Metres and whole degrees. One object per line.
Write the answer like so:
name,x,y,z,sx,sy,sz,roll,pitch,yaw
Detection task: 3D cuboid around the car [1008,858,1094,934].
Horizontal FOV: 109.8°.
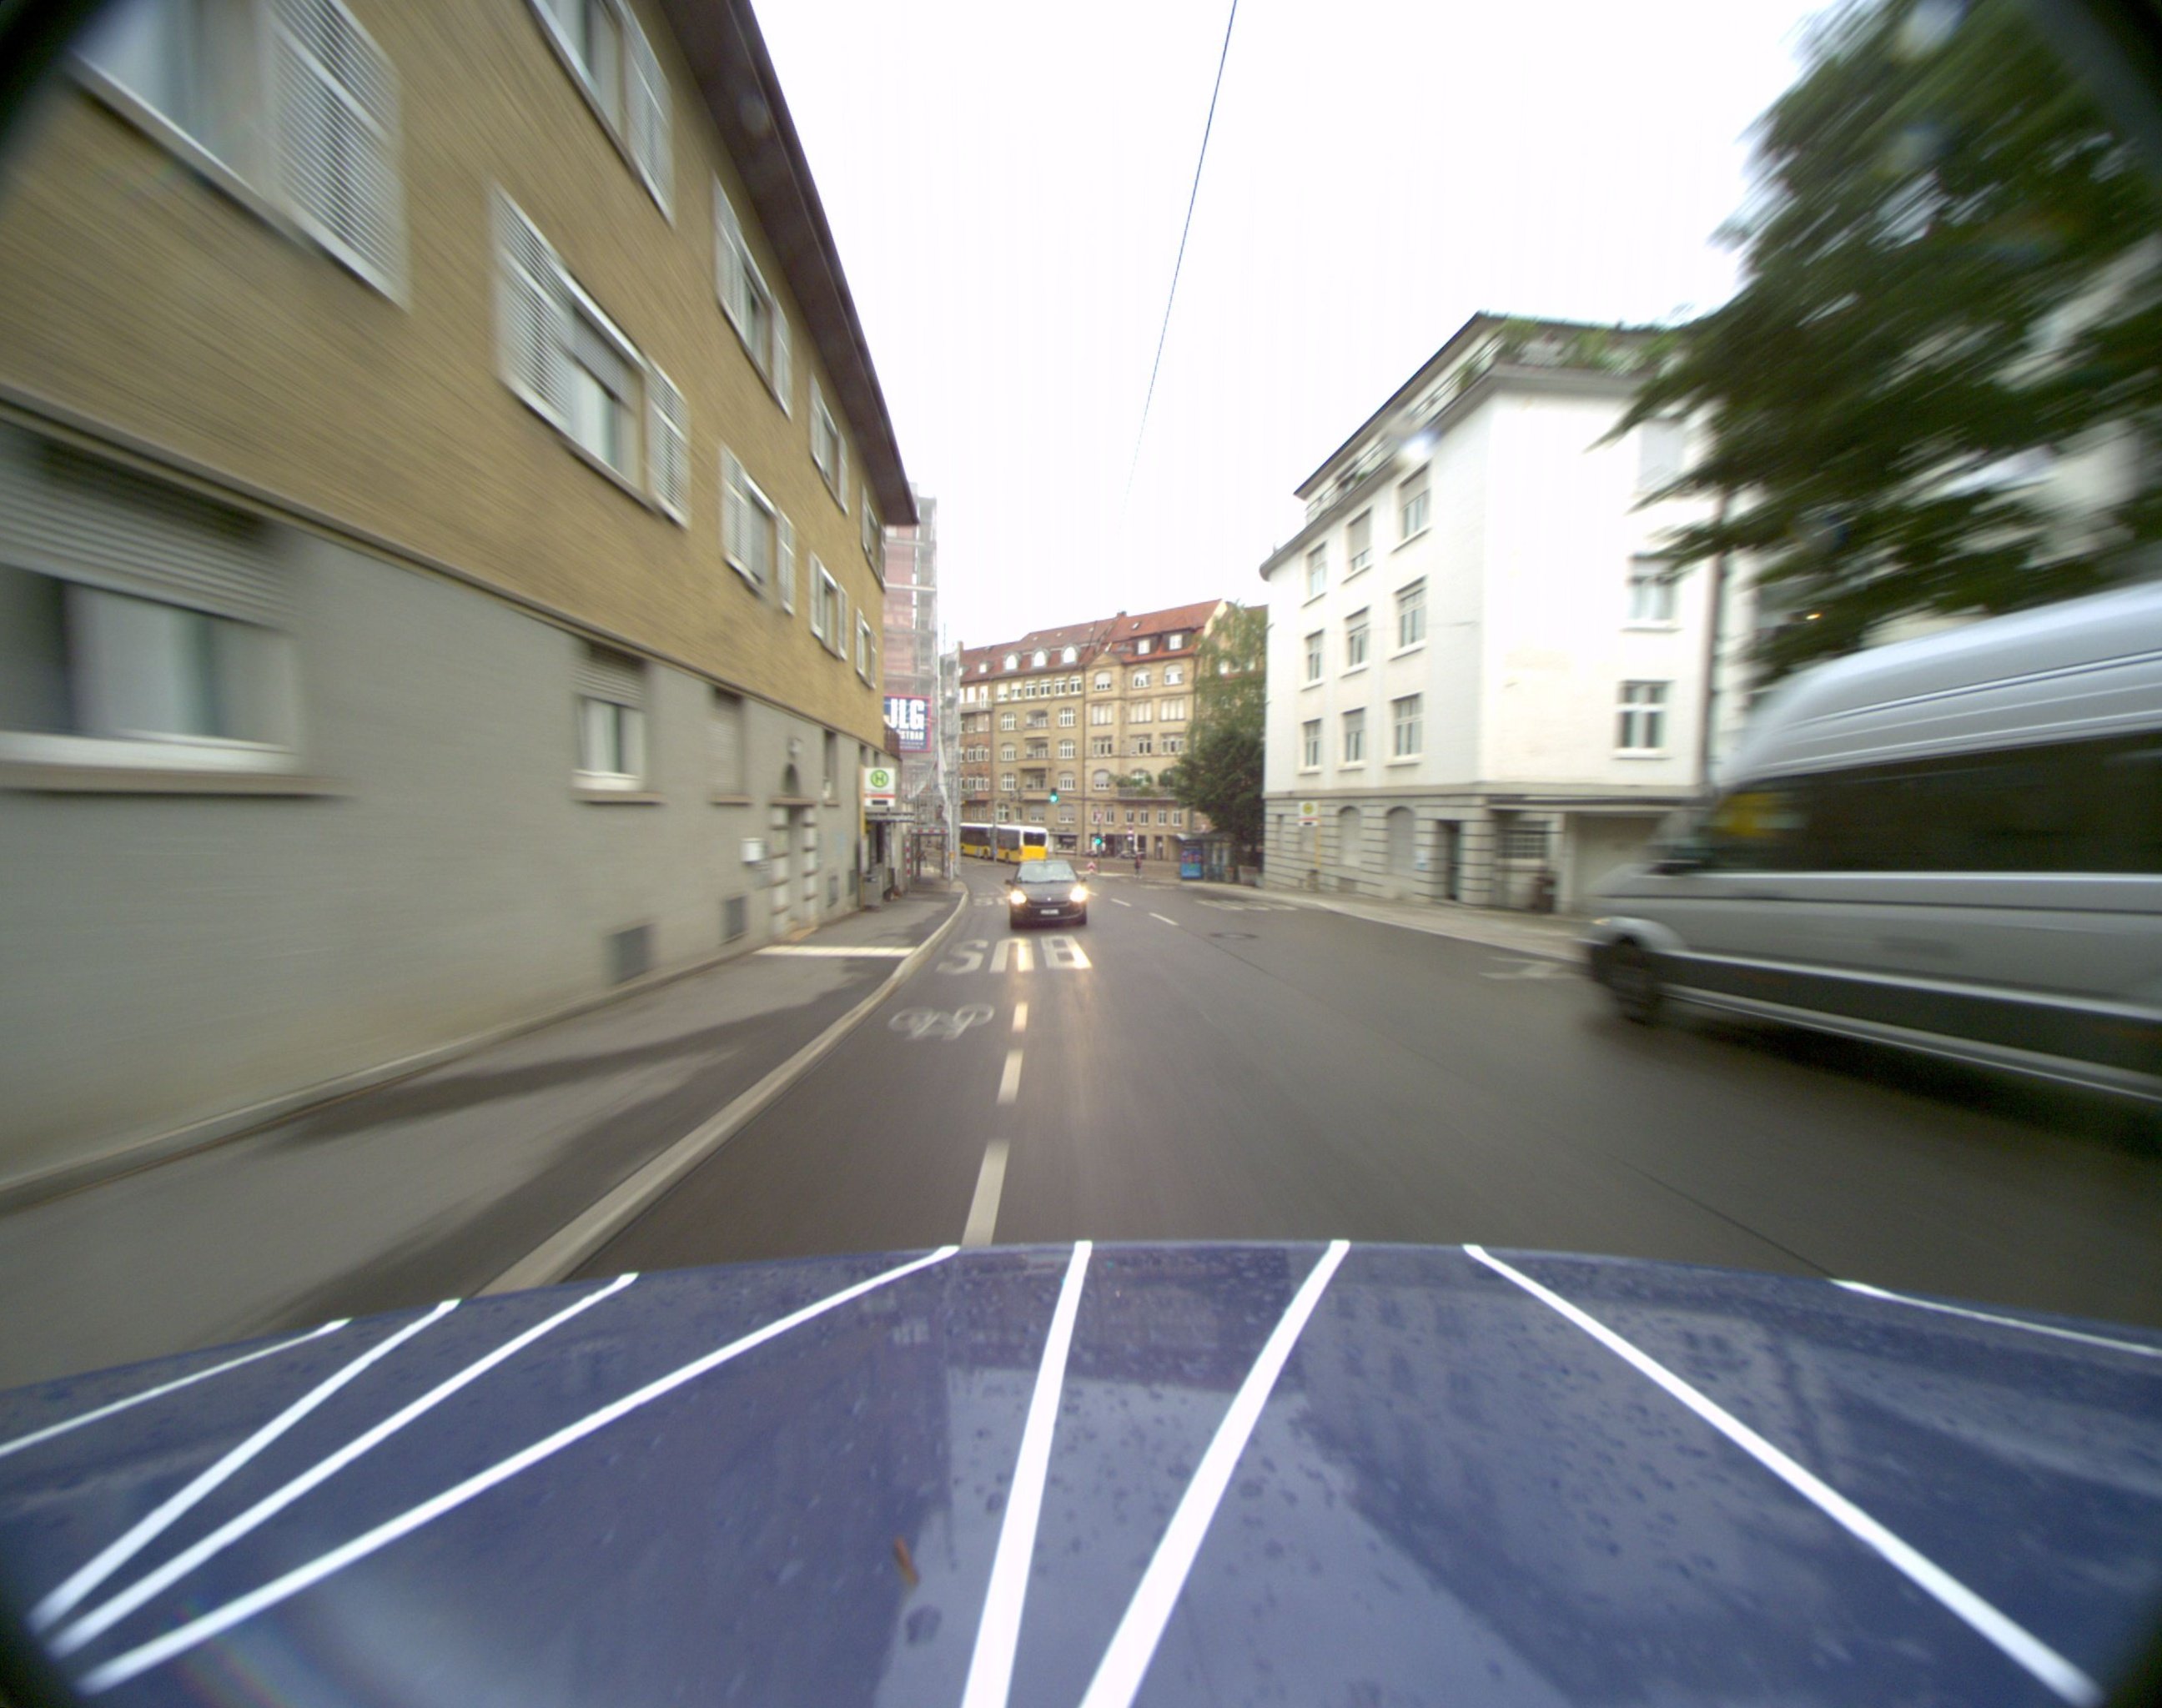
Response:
car,-0.796,0.874,17.684,1.699,1.456,3.998,-3,1,-5

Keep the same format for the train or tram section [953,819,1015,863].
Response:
train or tram section,-10.050,-1.485,77.680,3.093,4.018,9.781,-1,4,-27

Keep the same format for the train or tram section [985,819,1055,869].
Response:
train or tram section,-5.727,-1.044,68.838,3.093,3.981,9.782,-1,4,-25

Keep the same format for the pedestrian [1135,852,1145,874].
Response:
pedestrian,4.257,0.631,54.638,0.650,1.571,0.805,0,1,1

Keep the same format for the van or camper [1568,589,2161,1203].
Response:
van or camper,5.972,0.208,4.529,2.073,2.843,5.745,1,0,-4

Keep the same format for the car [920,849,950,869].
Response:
car,-13.502,0.434,70.156,1.900,1.686,3.993,-3,1,-22
